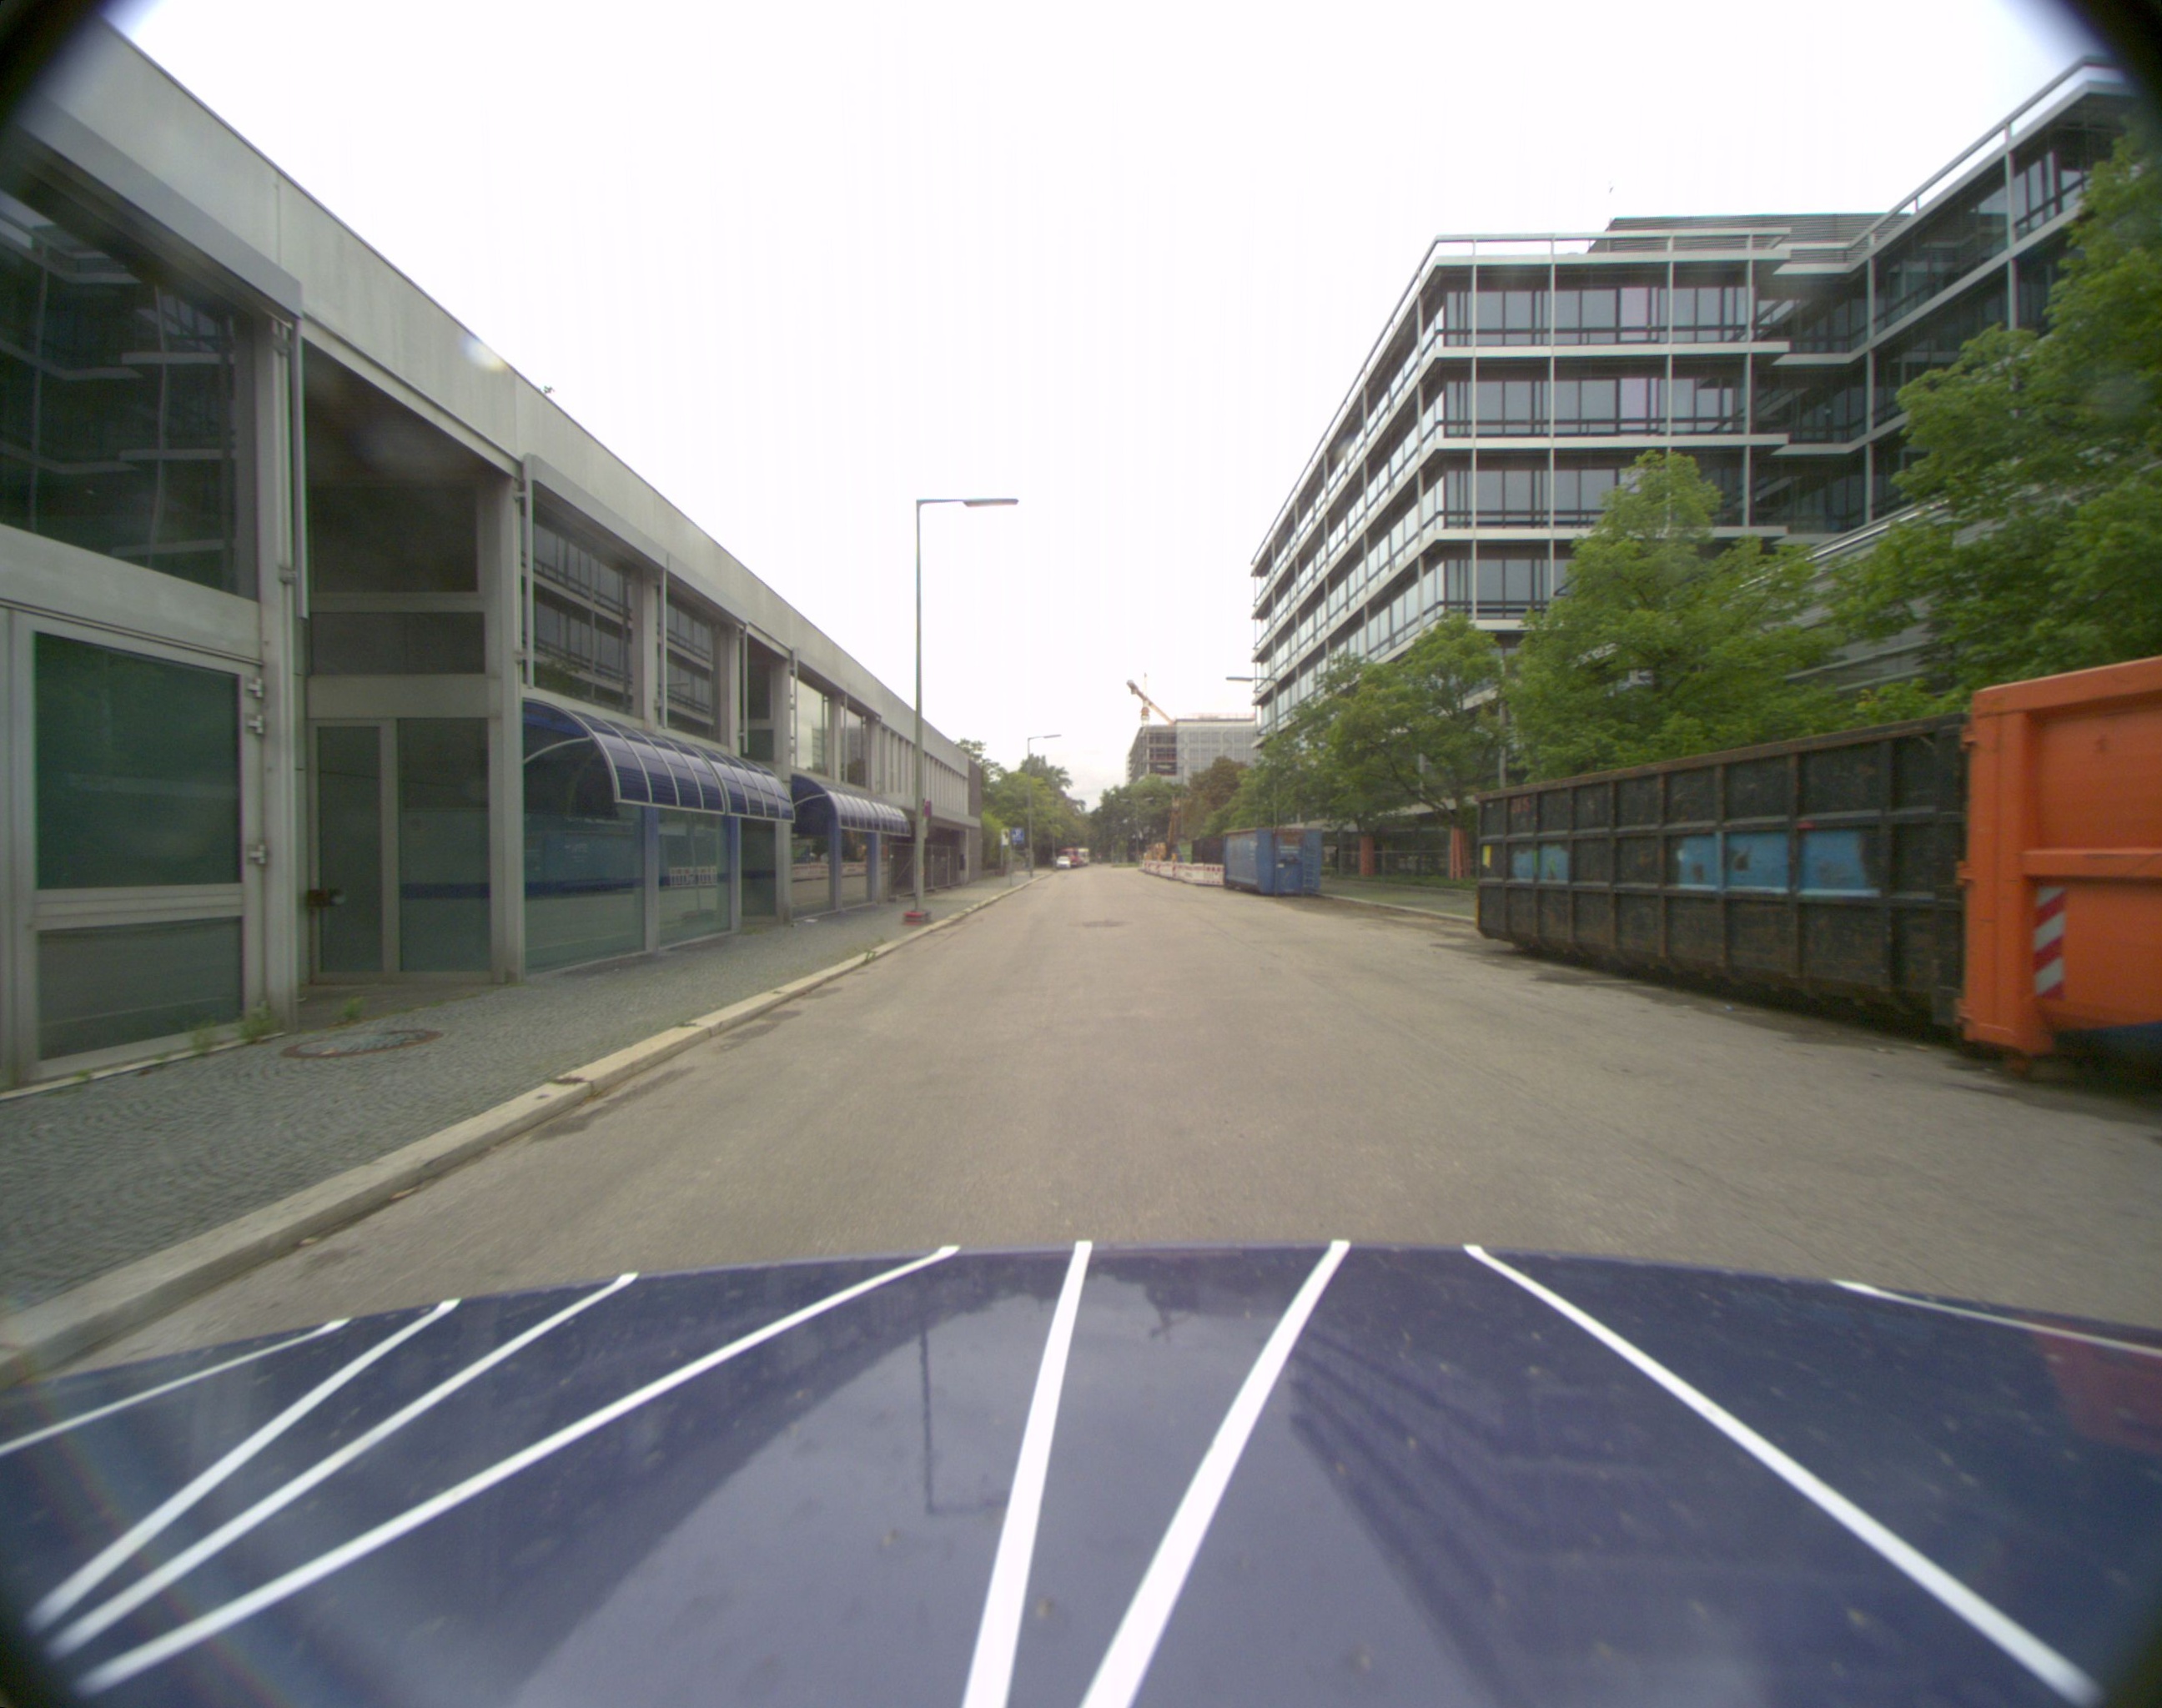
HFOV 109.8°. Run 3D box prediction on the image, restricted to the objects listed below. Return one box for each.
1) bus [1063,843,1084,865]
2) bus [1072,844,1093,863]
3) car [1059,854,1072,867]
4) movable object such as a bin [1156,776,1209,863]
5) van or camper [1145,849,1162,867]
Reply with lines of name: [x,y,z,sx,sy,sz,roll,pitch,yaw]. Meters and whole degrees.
bus: [-0.941,0.028,97.936,2.077,2.789,6.274,0,0,5]
bus: [0.301,-0.073,111.835,2.076,2.714,5.871,0,0,10]
car: [-1.827,0.745,91.047,1.536,1.483,4.059,0,1,-2]
movable object such as a bin: [8.211,-2.642,63.089,2.911,6.526,11.782,0,1,0]
van or camper: [8.937,0.496,94.388,1.993,2.022,5.588,1,0,4]
